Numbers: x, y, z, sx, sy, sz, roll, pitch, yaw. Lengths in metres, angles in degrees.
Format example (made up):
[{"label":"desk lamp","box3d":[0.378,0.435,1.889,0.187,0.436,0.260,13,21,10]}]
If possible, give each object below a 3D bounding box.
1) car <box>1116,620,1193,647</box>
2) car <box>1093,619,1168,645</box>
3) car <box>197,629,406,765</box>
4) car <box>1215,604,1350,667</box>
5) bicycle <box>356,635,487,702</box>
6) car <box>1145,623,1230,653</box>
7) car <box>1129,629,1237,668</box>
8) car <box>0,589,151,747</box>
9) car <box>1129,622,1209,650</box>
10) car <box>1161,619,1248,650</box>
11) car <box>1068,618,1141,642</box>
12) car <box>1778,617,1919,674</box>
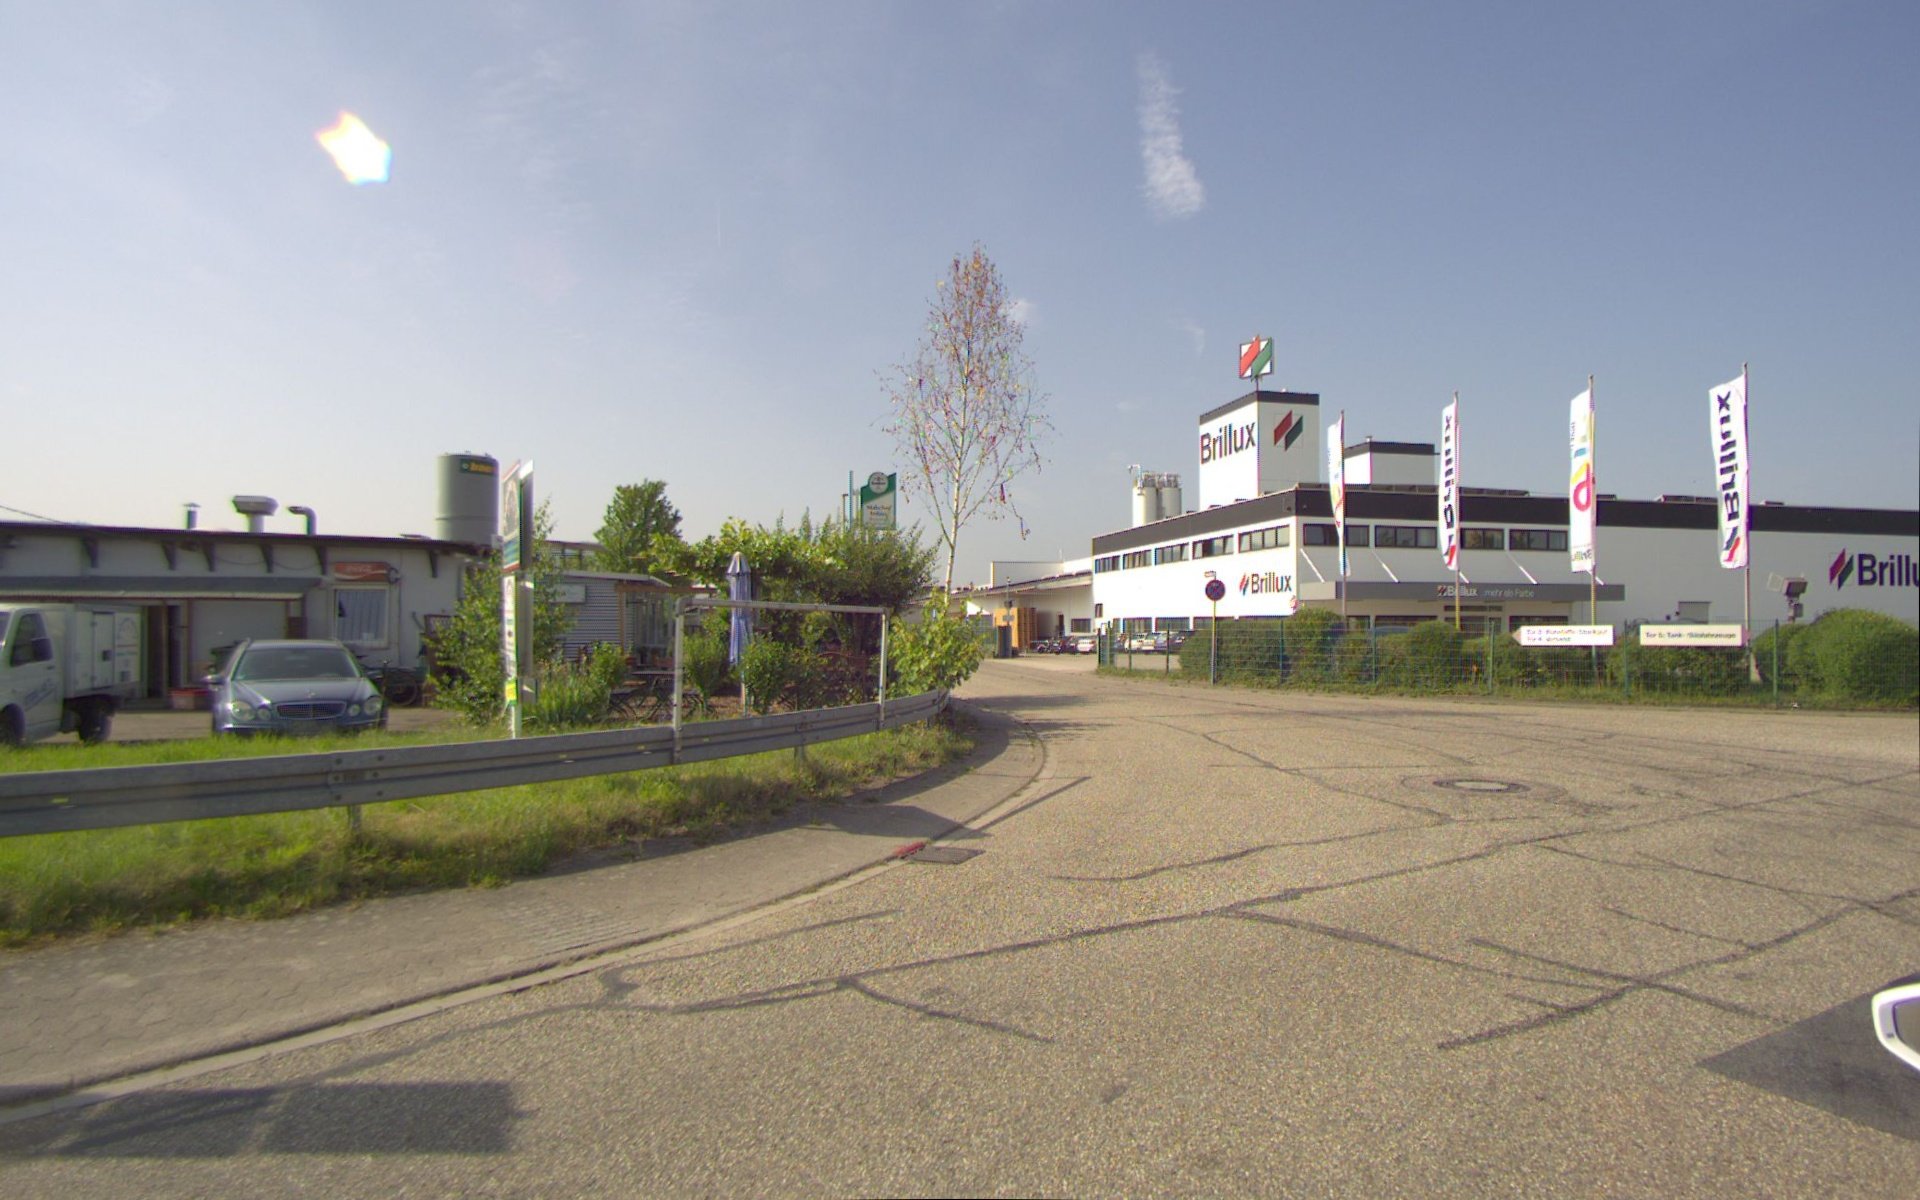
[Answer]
[{"label":"car","box3d":[12.907,2.250,66.560,5.003,1.724,1.984,1,-2,-31]},{"label":"car","box3d":[11.816,2.210,69.495,5.003,1.724,1.984,1,-2,-31]},{"label":"car","box3d":[-9.226,1.179,13.881,1.946,1.530,4.784,1,-2,-39]},{"label":"car","box3d":[9.711,1.063,30.722,2.112,1.775,4.659,0,-1,-8]},{"label":"bicycle","box3d":[-10.993,1.390,20.584,2.222,1.321,0.726,0,-2,-15]},{"label":"car","box3d":[13.778,2.294,60.733,5.003,1.724,1.984,1,-2,-31]},{"label":"car","box3d":[7.841,1.688,35.304,3.504,1.320,1.626,1,-2,-27]},{"label":"car","box3d":[-12.308,0.830,12.649,1.972,1.728,5.250,0,-2,-24]},{"label":"car","box3d":[13.370,2.289,64.073,5.003,1.724,1.984,1,-2,-31]},{"label":"car","box3d":[14.066,1.968,57.653,5.007,1.724,1.982,1,-2,-33]},{"label":"car","box3d":[10.354,2.154,71.801,5.003,1.724,1.984,1,-2,-31]},{"label":"car","box3d":[23.705,1.142,25.543,1.845,1.386,4.147,1,-2,-28]}]
